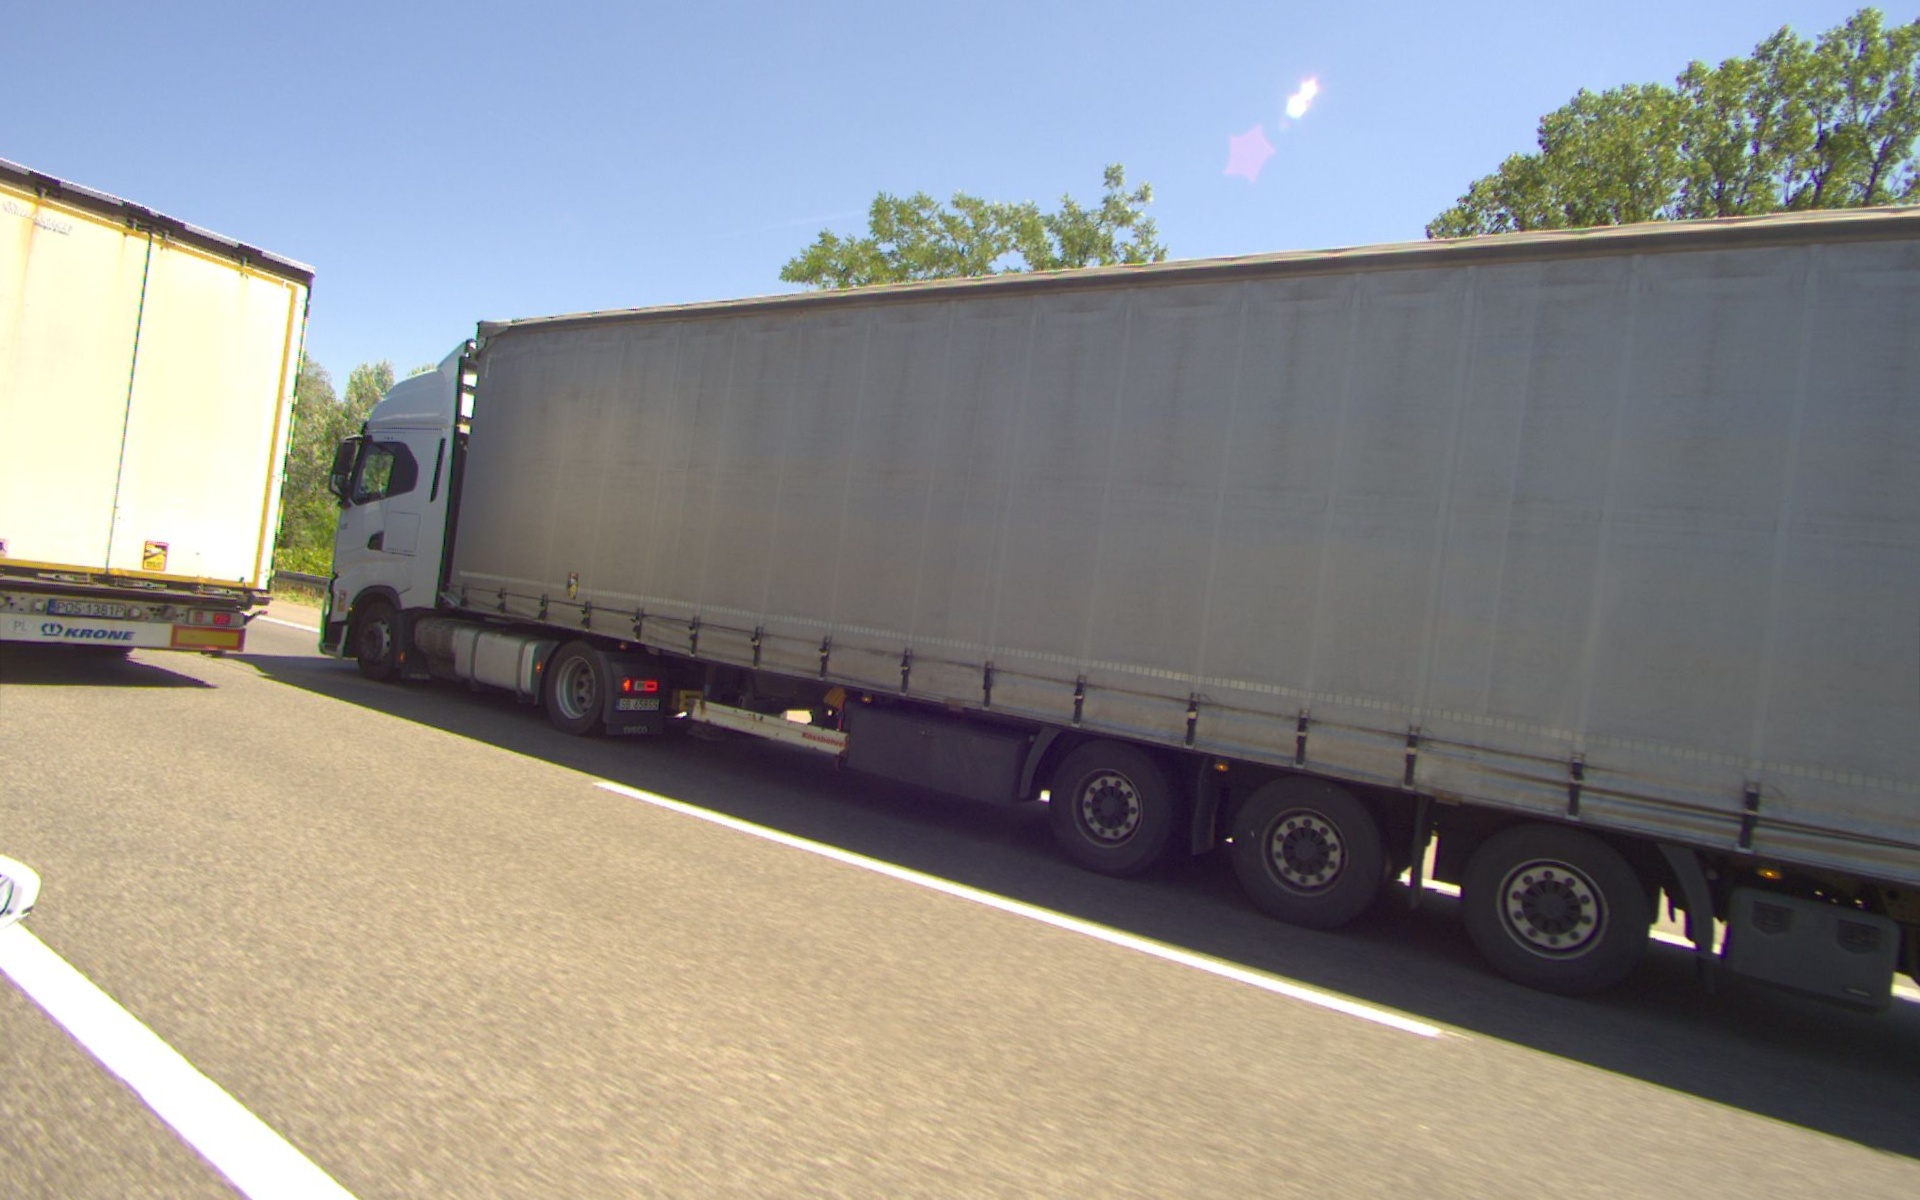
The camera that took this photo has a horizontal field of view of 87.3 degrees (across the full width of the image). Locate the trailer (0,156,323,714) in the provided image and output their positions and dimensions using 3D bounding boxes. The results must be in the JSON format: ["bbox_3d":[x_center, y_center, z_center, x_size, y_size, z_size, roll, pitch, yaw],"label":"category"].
[{"bbox_3d":[-11.905,-1.678,11.505,11.934,4.165,2.704,6,-2,33],"label":"trailer"}]

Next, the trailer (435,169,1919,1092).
[{"bbox_3d":[0.893,-0.221,8.319,13.022,4.165,2.705,6,-2,32],"label":"trailer"}]

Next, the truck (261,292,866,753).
[{"bbox_3d":[-4.901,-0.873,11.968,6.875,4.165,2.705,6,-2,32],"label":"truck"}]
